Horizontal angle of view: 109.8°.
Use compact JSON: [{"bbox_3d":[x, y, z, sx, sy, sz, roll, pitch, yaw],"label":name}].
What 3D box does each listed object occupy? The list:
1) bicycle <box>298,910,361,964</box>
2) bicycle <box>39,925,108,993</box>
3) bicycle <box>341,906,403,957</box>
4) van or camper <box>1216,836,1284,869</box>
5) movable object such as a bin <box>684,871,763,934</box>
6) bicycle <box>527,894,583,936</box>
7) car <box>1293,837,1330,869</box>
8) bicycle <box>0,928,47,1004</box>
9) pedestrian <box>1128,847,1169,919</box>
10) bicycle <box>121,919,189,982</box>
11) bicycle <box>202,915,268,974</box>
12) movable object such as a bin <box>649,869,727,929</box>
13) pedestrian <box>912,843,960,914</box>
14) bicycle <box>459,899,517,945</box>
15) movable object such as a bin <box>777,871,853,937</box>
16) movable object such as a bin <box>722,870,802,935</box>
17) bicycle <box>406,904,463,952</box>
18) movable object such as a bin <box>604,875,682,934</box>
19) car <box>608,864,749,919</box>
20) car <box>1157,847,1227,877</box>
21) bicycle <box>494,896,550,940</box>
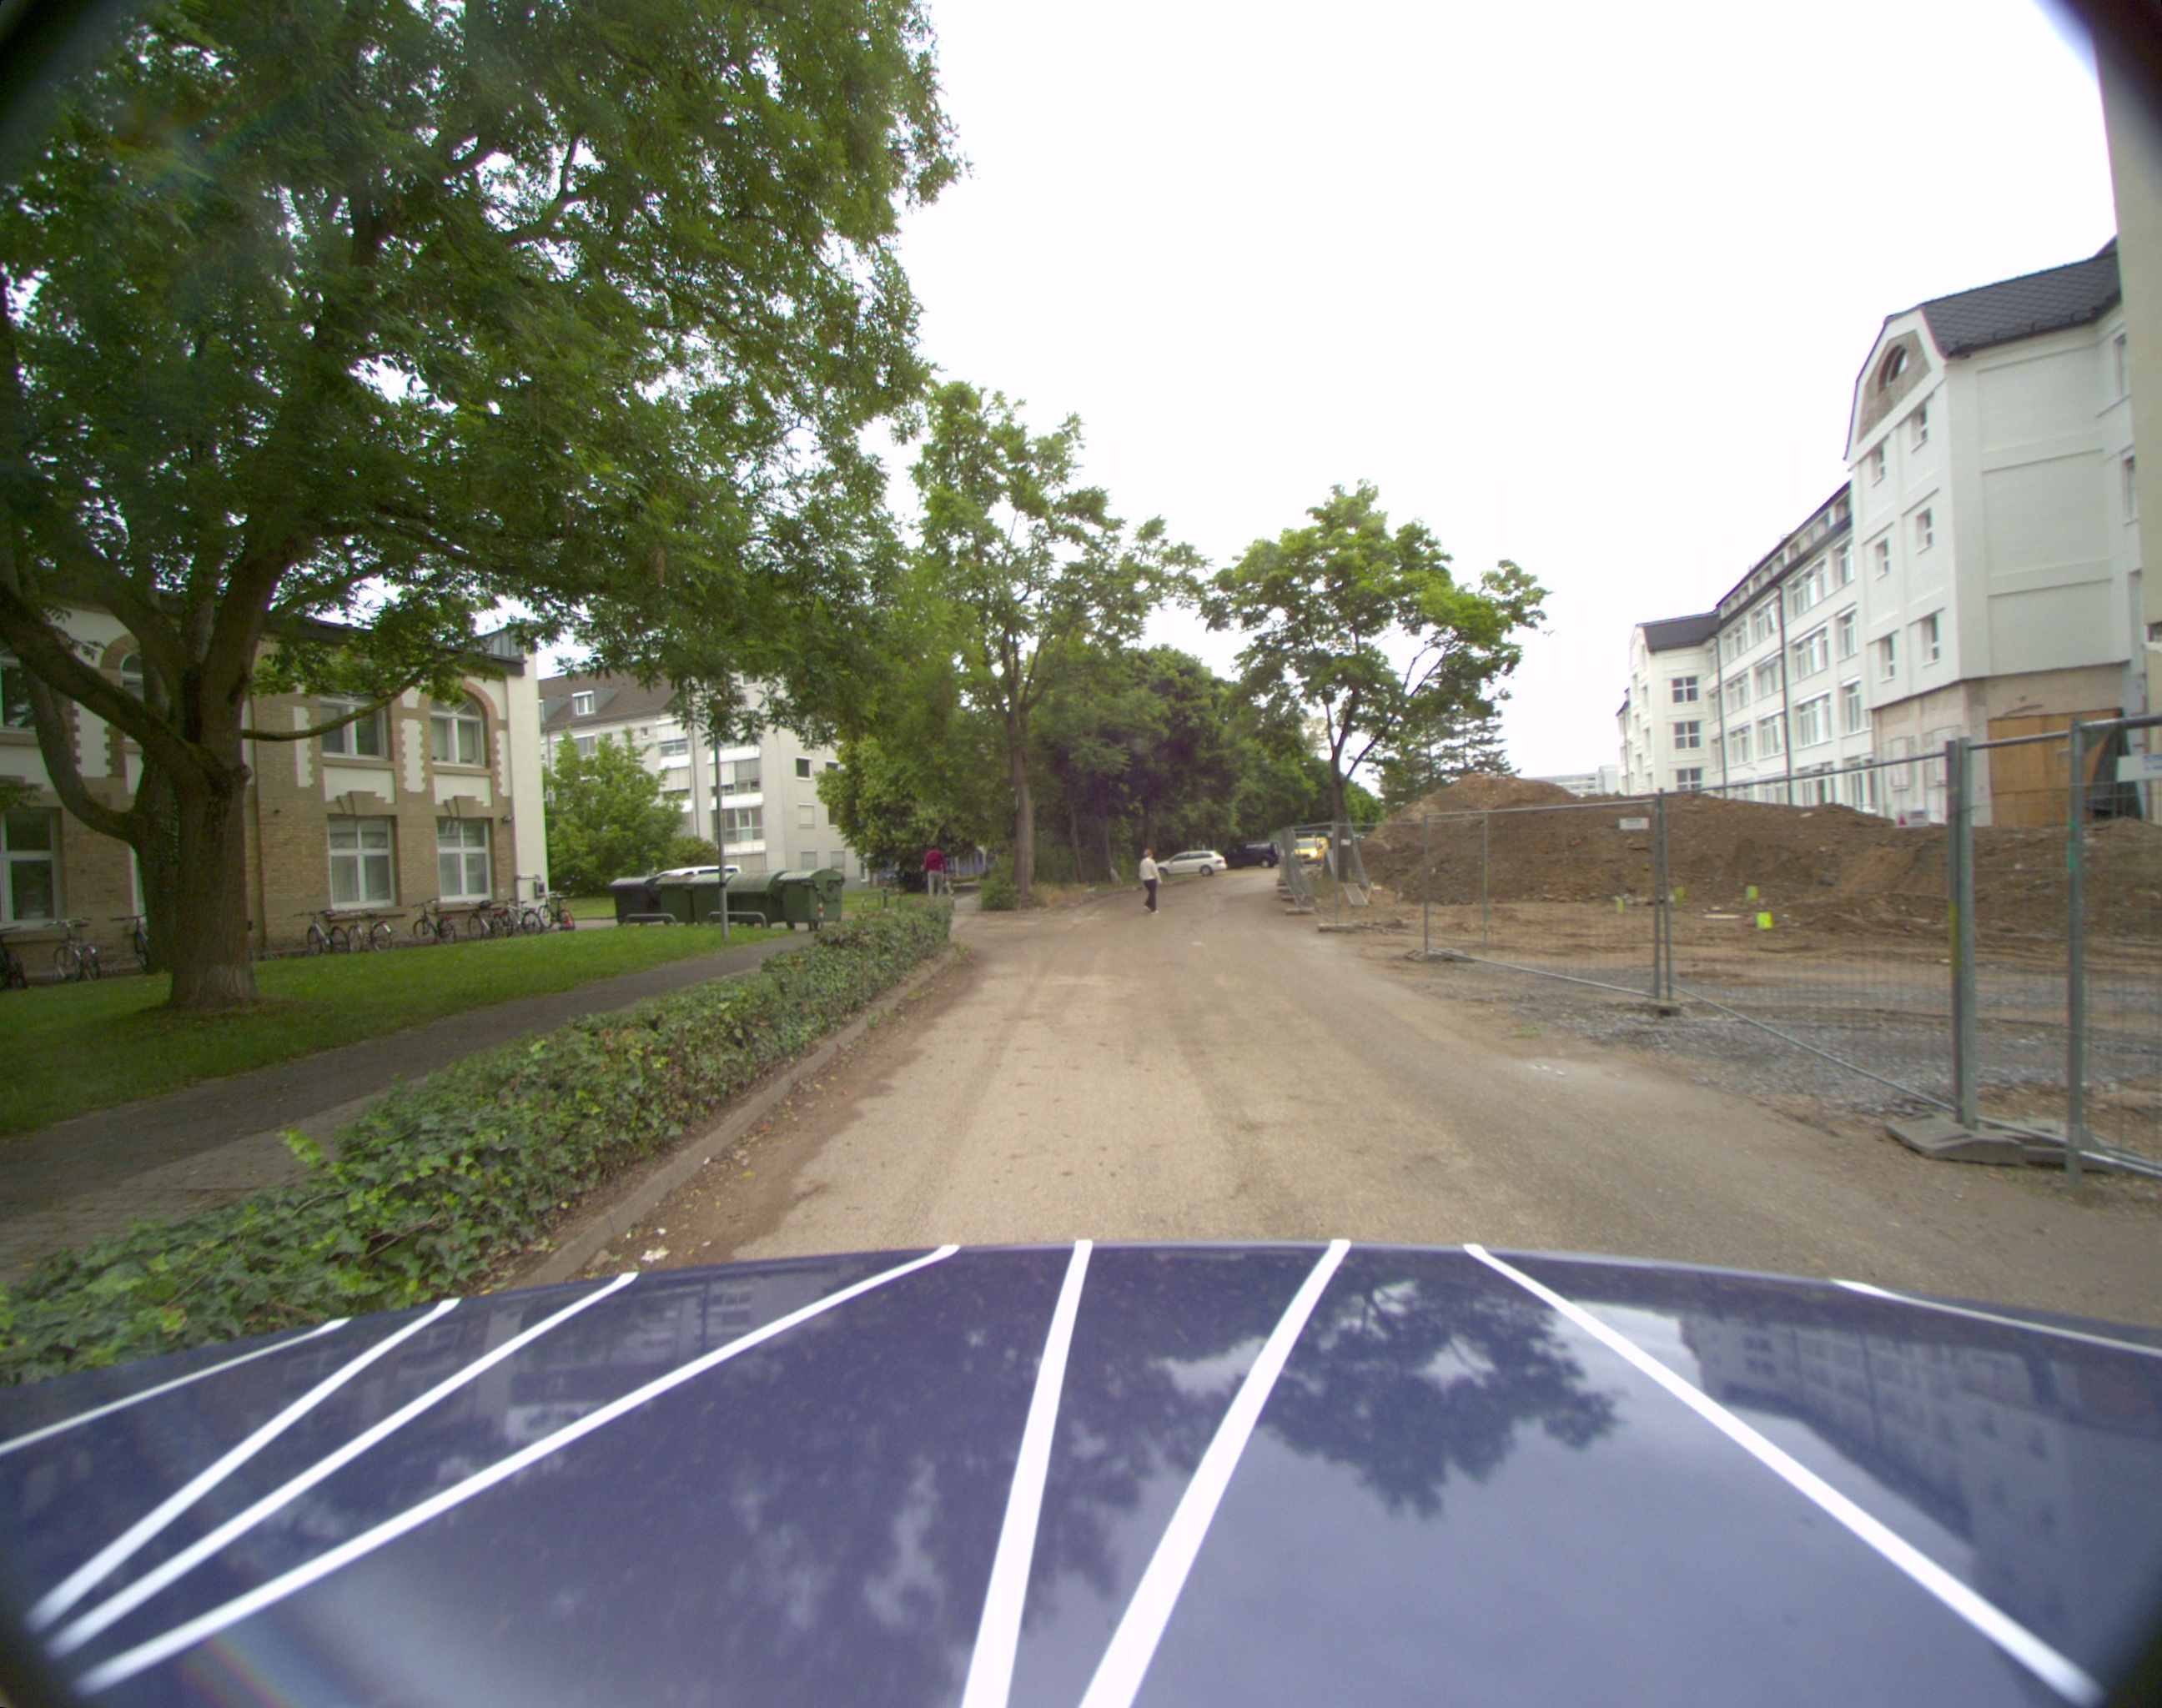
[{"bbox_3d":[-16.567,1.822,16.738,1.740,1.108,0.461,-3,0,28],"label":"bicycle"},{"bbox_3d":[-18.151,1.863,13.681,1.740,1.108,0.461,-3,0,28],"label":"bicycle"},{"bbox_3d":[-16.260,1.766,17.408,1.740,1.108,0.461,-3,0,28],"label":"bicycle"},{"bbox_3d":[12.566,-0.122,56.480,4.490,2.245,2.003,-2,1,27],"label":"van or camper"},{"bbox_3d":[-8.920,1.204,18.990,1.292,1.442,1.110,-3,1,21],"label":"movable object such as a bin"},{"bbox_3d":[-14.590,1.681,21.067,1.740,1.108,0.461,-3,0,28],"label":"bicycle"},{"bbox_3d":[15.816,-0.105,51.949,2.121,2.002,4.005,-2,0,20],"label":"car"},{"bbox_3d":[-18.295,1.881,12.996,1.740,1.108,0.461,0,2,28],"label":"bicycle"},{"bbox_3d":[1.723,0.729,19.472,0.752,1.771,0.662,-3,1,-24],"label":"pedestrian"},{"bbox_3d":[-17.751,1.823,14.551,1.740,1.108,0.461,-3,0,28],"label":"bicycle"},{"bbox_3d":[-17.175,1.810,15.408,1.740,1.108,0.461,-2,1,28],"label":"bicycle"},{"bbox_3d":[-10.160,1.162,19.668,1.324,1.442,1.110,-3,1,21],"label":"movable object such as a bin"},{"bbox_3d":[-4.325,0.725,22.707,0.793,2.052,1.203,-2,1,23],"label":"pedestrian"},{"bbox_3d":[-15.258,1.735,19.546,1.740,1.108,0.461,-3,0,28],"label":"bicycle"},{"bbox_3d":[-6.203,1.145,17.749,1.272,1.426,1.074,-2,1,36],"label":"movable object such as a bin"},{"bbox_3d":[-7.624,1.157,18.200,1.283,1.442,1.110,-3,1,21],"label":"movable object such as a bin"},{"bbox_3d":[-15.727,1.785,18.466,1.740,1.108,0.461,-3,0,30],"label":"bicycle"},{"bbox_3d":[-11.634,1.340,20.223,1.359,1.442,1.110,-3,1,21],"label":"movable object such as a bin"},{"bbox_3d":[-16.526,1.495,31.488,1.897,1.862,4.781,-5,-1,28],"label":"car"},{"bbox_3d":[6.645,0.460,45.211,3.879,1.565,1.754,-3,0,15],"label":"car"},{"bbox_3d":[-14.910,1.700,20.267,1.740,1.108,0.461,-3,0,28],"label":"bicycle"}]
